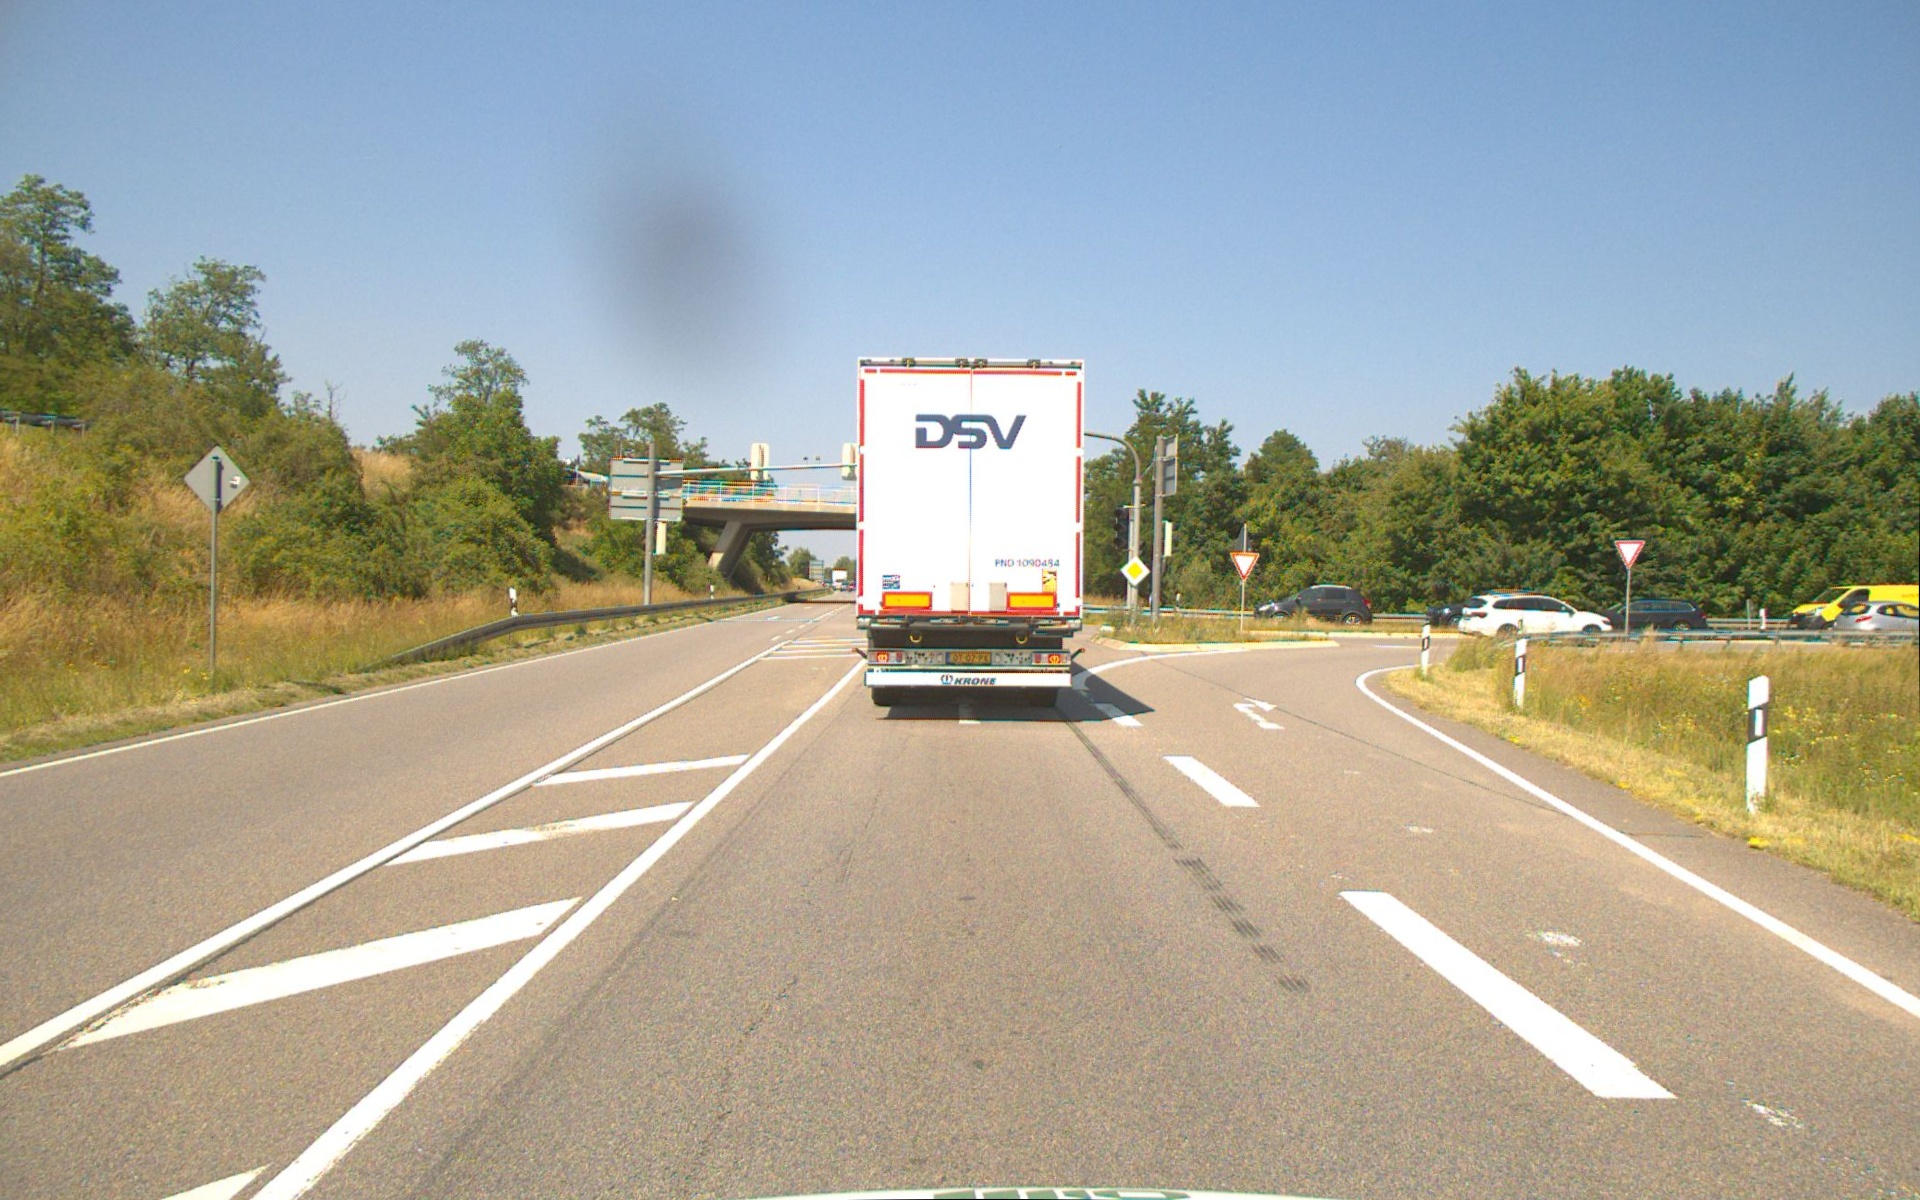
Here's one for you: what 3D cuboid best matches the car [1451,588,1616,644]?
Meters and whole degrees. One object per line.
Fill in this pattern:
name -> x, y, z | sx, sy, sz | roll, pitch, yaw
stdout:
car -> 17.265, 0.467, 49.881 | 4.380, 1.594, 1.738 | -1, 0, -4

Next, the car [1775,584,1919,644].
car -> 31.820, 0.486, 58.311 | 5.212, 2.049, 2.000 | 1, 0, 1

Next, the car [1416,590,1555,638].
car -> 18.614, 0.479, 58.729 | 4.392, 1.626, 1.768 | 1, 0, 2

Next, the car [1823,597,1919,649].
car -> 29.573, 0.740, 52.437 | 3.614, 1.594, 1.735 | 1, 0, -10

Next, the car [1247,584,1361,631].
car -> 12.599, 0.263, 60.772 | 3.901, 1.668, 1.842 | 1, 0, 6

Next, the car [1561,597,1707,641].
car -> 24.434, 0.683, 60.117 | 4.583, 1.540, 1.854 | 1, 0, 7

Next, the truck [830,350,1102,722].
truck -> 0.027, -0.697, 22.929 | 2.927, 4.011, 9.874 | 1, 0, -1
